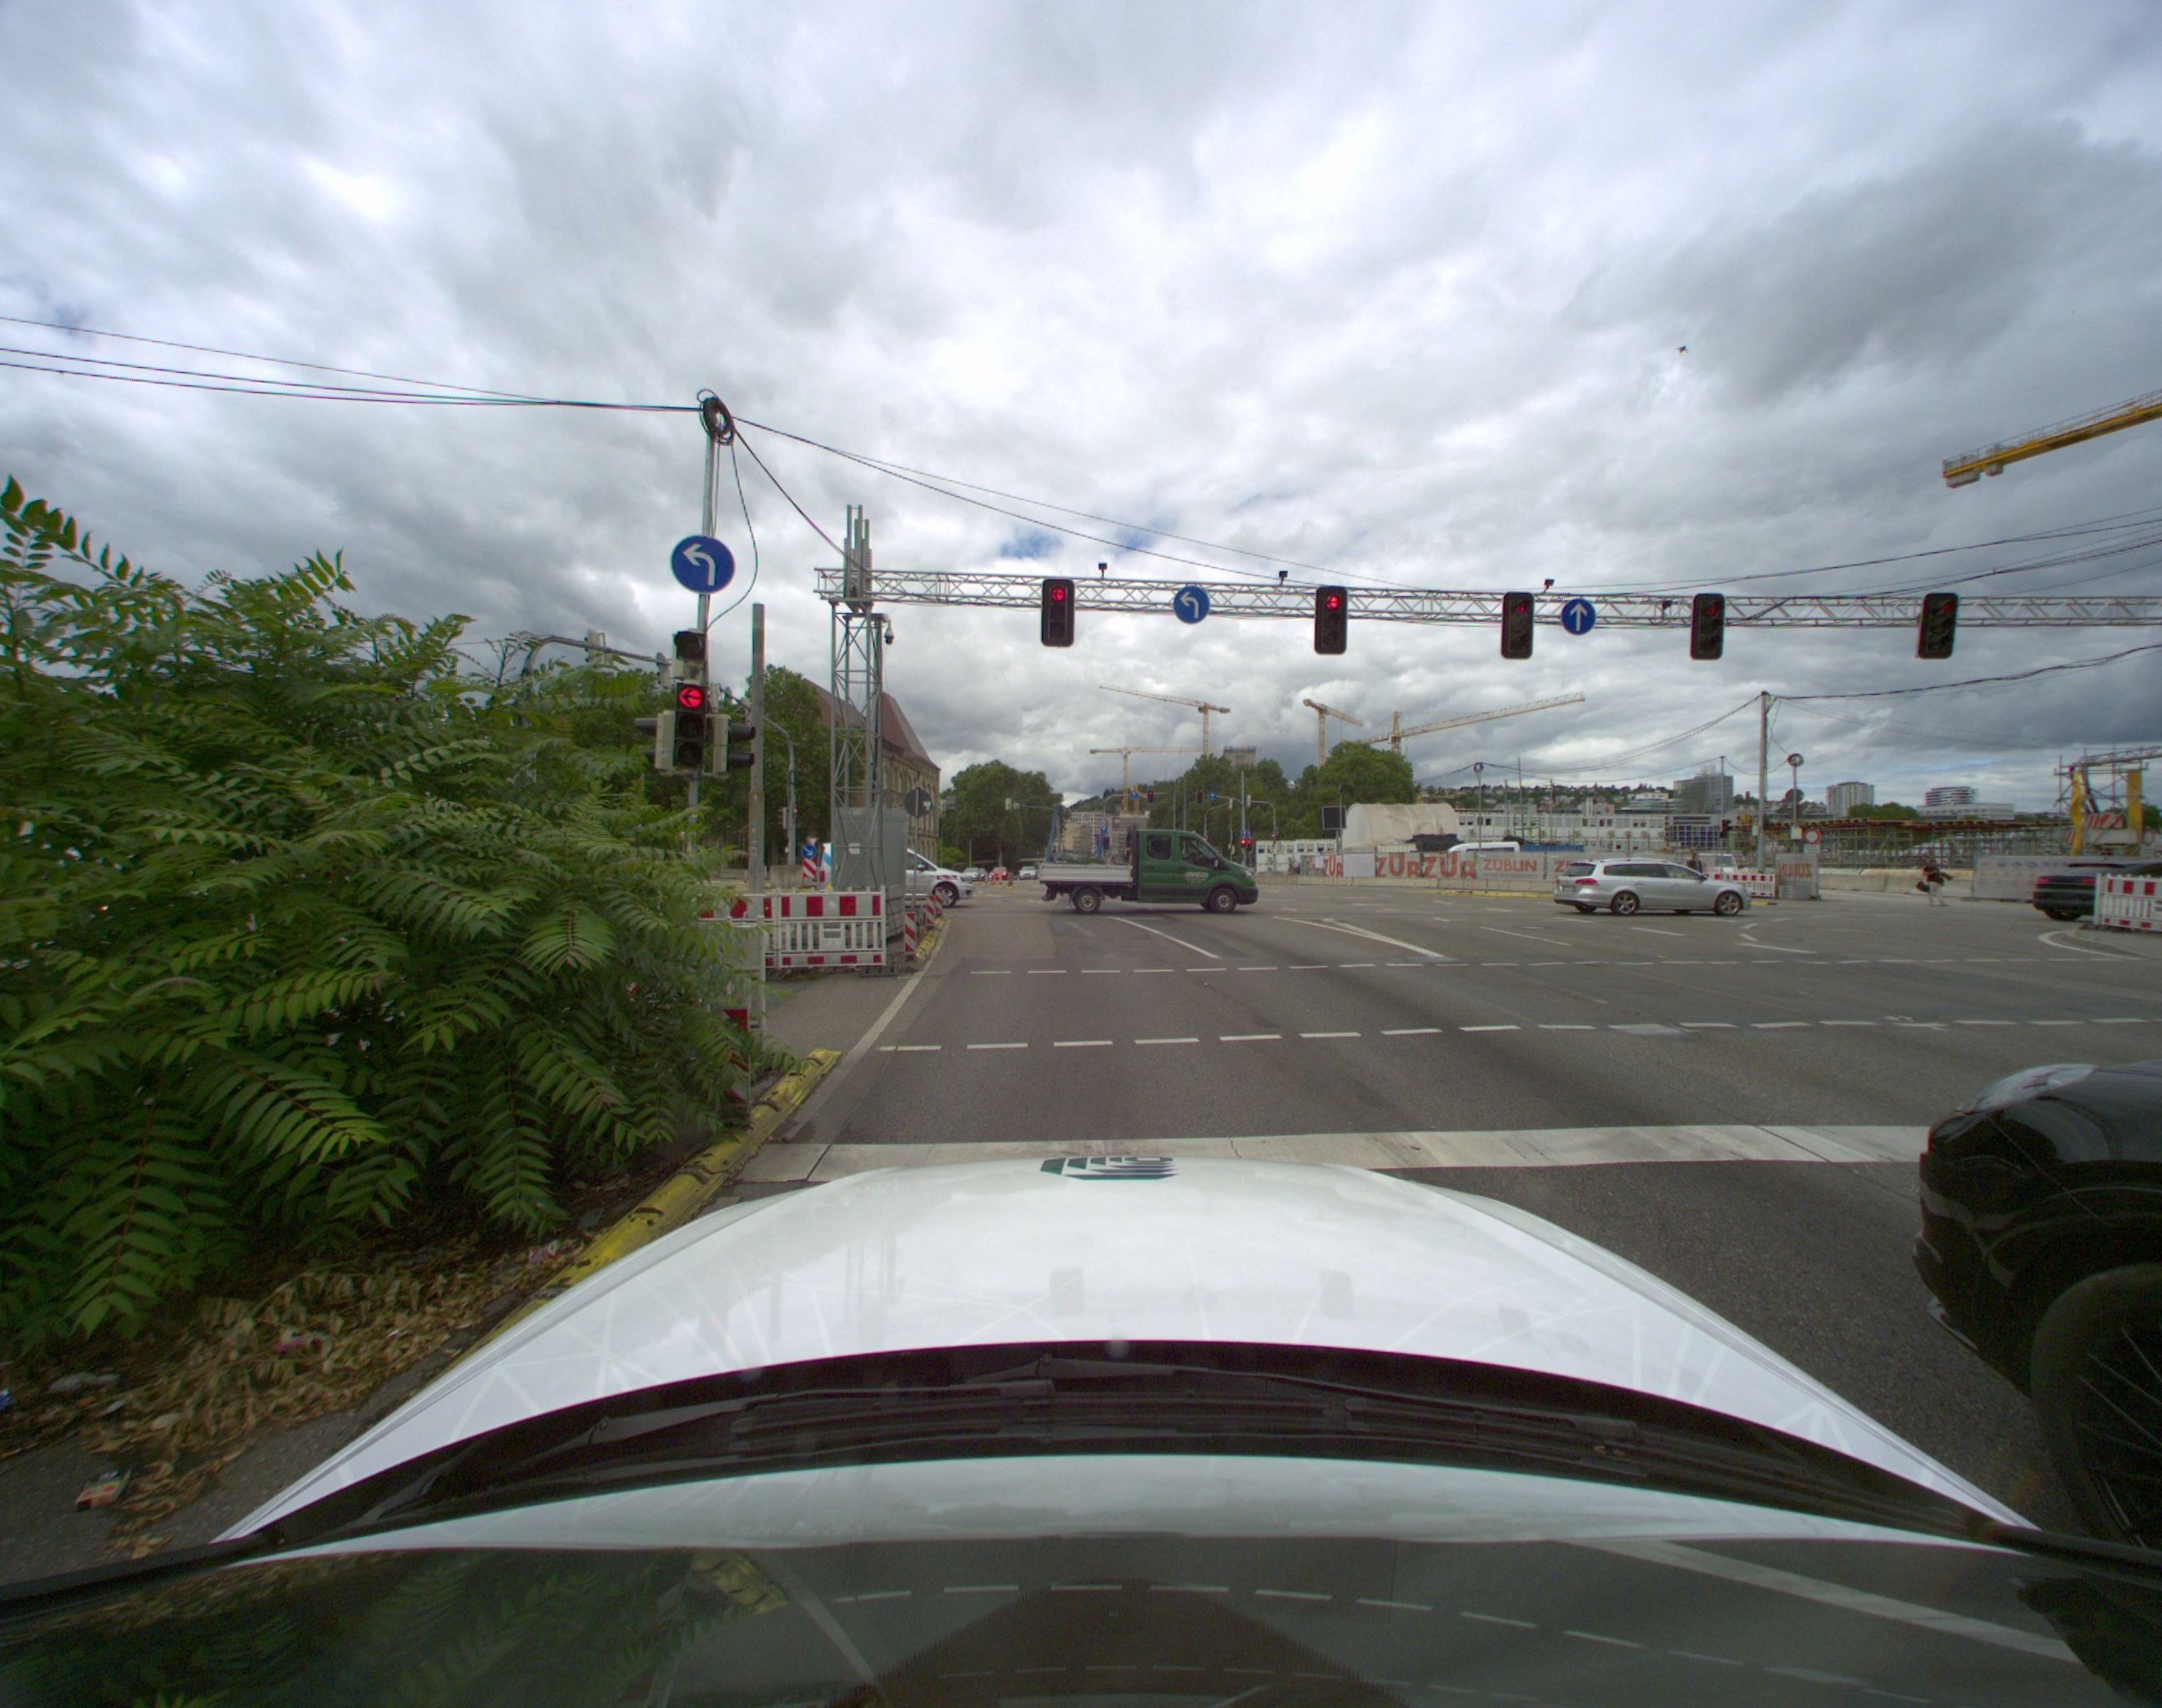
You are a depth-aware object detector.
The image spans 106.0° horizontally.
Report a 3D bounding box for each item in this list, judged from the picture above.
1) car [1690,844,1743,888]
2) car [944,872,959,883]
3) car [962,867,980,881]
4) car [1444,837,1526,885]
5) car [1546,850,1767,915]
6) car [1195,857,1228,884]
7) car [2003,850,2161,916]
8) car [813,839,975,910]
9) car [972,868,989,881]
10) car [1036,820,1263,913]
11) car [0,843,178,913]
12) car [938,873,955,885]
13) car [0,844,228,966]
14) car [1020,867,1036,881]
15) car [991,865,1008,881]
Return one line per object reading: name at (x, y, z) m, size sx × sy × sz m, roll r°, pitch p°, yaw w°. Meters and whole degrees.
car at (30.130, 0.556, 38.698) m, size 1.755 × 1.954 × 3.146 m, roll -1°, pitch -1°, yaw 34°
car at (-17.296, 3.158, 109.116) m, size 1.673 × 1.399 × 3.676 m, roll -1°, pitch -4°, yaw -4°
car at (-11.621, 2.104, 86.076) m, size 1.673 × 1.398 × 3.677 m, roll 0°, pitch -1°, yaw -4°
car at (23.228, 0.416, 46.971) m, size 3.957 × 2.662 × 1.688 m, roll -1°, pitch -1°, yaw 15°
car at (15.135, 0.725, 21.577) m, size 4.694 × 1.625 × 1.681 m, roll 0°, pitch -1°, yaw 0°
car at (8.476, 1.047, 52.999) m, size 1.670 × 1.702 × 3.375 m, roll 0°, pitch -1°, yaw 2°
car at (27.266, 0.704, 20.707) m, size 4.774 × 1.625 × 2.028 m, roll -1°, pitch -1°, yaw 13°
car at (-5.246, 0.535, 22.928) m, size 4.275 × 1.882 × 1.820 m, roll 0°, pitch -1°, yaw -16°
car at (-11.367, 2.252, 92.233) m, size 1.673 × 1.398 × 3.677 m, roll 0°, pitch -1°, yaw -4°
car at (1.701, 0.321, 21.724) m, size 5.745 × 2.305 × 2.301 m, roll 0°, pitch -1°, yaw -3°
car at (-25.442, 0.584, 20.169) m, size 4.041 × 1.625 × 1.829 m, roll 0°, pitch -1°, yaw -1°
car at (-16.706, 3.106, 101.213) m, size 1.673 × 1.398 × 3.677 m, roll 0°, pitch -1°, yaw -4°
car at (-16.129, 0.719, 13.236) m, size 3.952 × 1.746 × 1.848 m, roll 0°, pitch 0°, yaw 23°
car at (-5.588, 2.055, 85.354) m, size 1.673 × 1.398 × 3.677 m, roll 0°, pitch -1°, yaw -4°
car at (-8.481, 1.982, 85.091) m, size 1.673 × 1.580 × 3.677 m, roll 0°, pitch -1°, yaw -4°
